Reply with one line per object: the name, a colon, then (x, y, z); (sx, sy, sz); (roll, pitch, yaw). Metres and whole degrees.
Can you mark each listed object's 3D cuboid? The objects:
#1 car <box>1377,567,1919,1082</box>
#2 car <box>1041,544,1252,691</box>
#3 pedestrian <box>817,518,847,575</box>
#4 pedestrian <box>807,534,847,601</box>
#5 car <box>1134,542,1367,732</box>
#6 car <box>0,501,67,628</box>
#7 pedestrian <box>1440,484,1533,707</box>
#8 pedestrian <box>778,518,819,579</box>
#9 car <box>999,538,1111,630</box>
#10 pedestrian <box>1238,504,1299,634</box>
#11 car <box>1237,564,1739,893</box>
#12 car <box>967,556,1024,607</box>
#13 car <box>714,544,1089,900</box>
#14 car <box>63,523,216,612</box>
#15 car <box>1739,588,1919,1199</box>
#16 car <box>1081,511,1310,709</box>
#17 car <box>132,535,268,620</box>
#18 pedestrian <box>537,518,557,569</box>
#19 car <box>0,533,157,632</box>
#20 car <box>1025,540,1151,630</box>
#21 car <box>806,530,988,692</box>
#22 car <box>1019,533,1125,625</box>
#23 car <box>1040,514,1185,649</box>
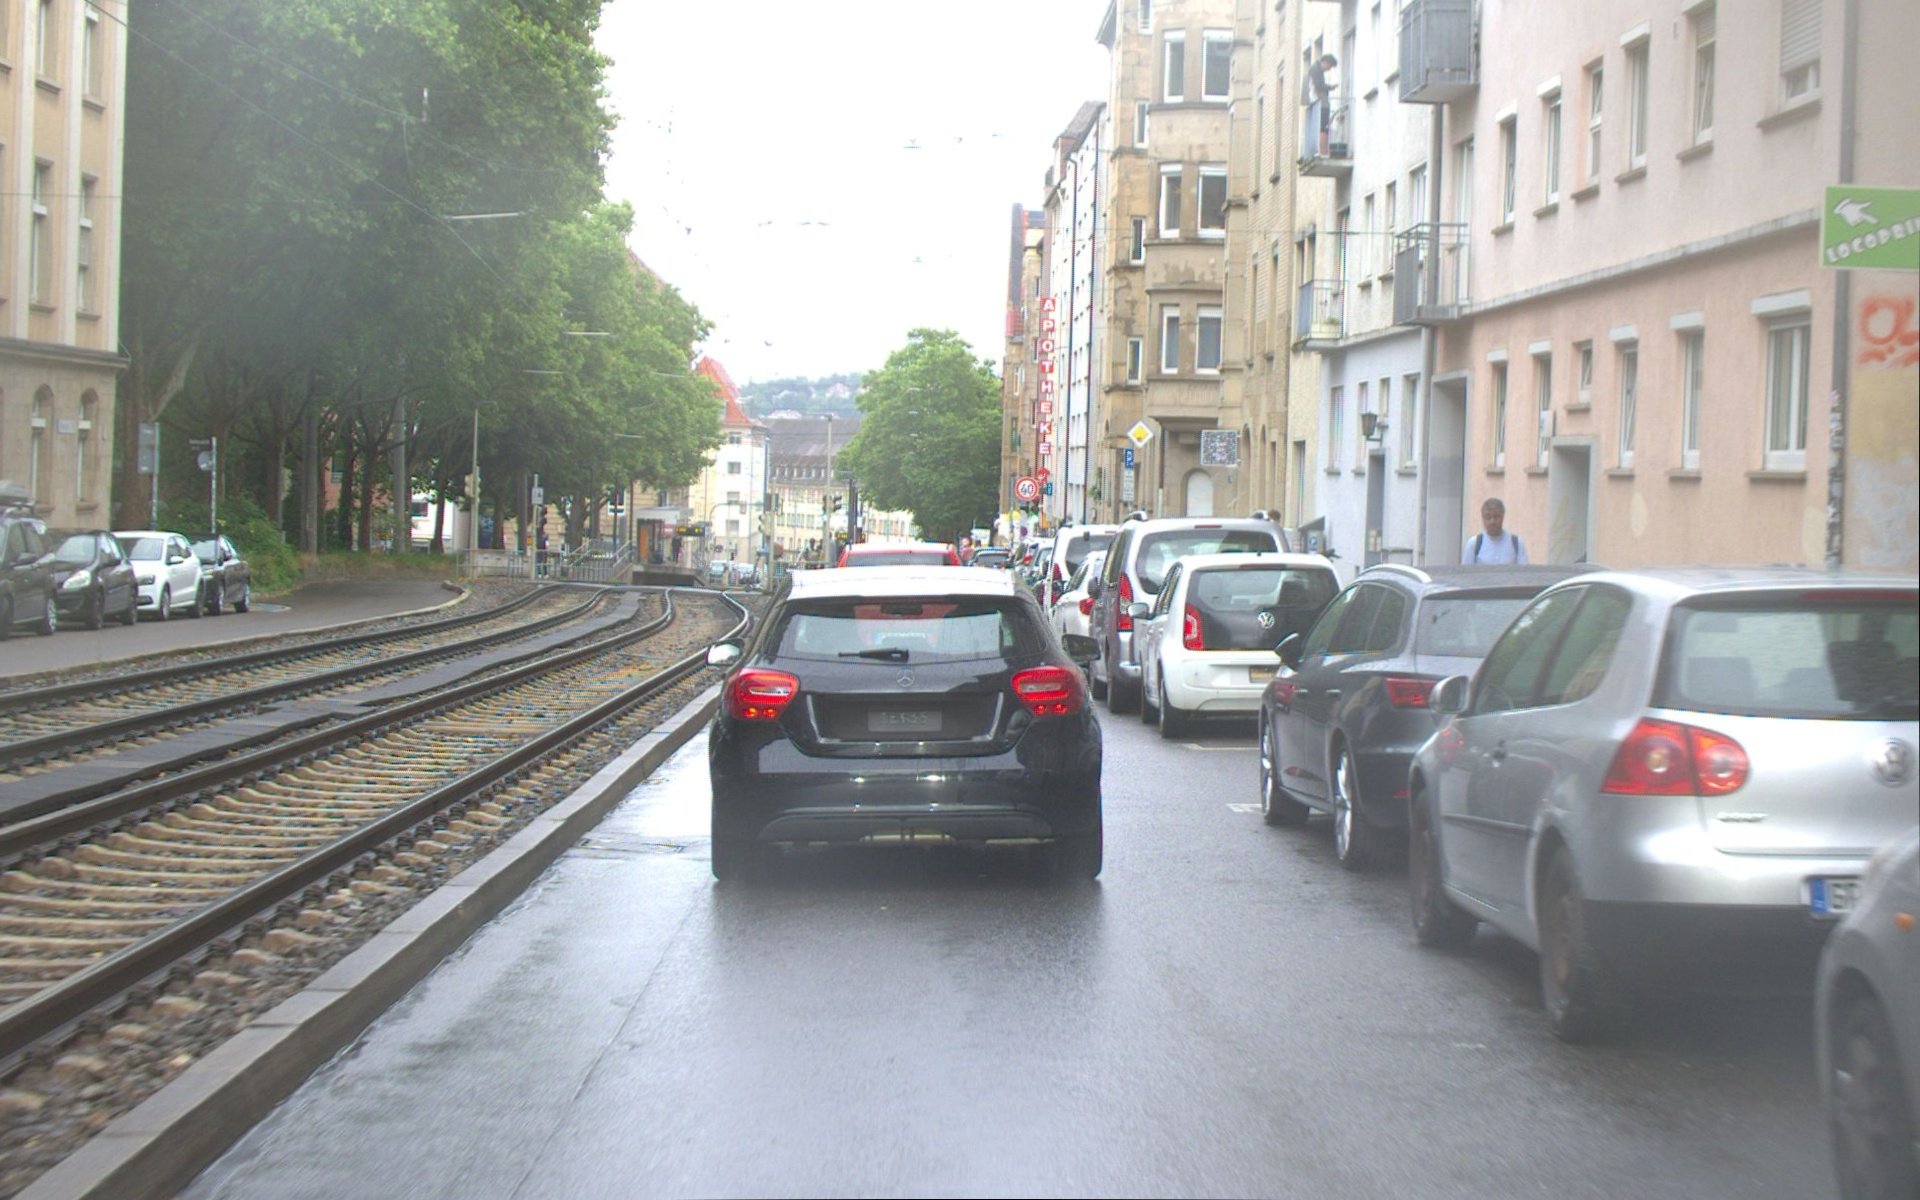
car: (2.556, 0.615, 11.691); (1.667, 1.429, 3.956); (0, 1, -2)
car: (1.971, 0.141, 37.742); (1.871, 1.450, 4.903); (1, 1, -2)
pedestrian: (-3.683, -1.539, 98.843); (0.806, 1.628, 0.892); (0, 1, 0)
pedestrian: (-3.992, -0.978, 102.925); (1.137, 1.991, 1.173); (-1, 1, -4)
car: (2.331, 0.258, 28.302); (1.570, 1.457, 3.600); (0, 1, 0)
car: (-13.205, -0.473, 45.929); (1.576, 1.637, 4.072); (-1, 1, -2)
pedestrian: (4.227, -0.040, 27.648); (0.607, 1.757, 0.688); (-1, 1, -1)
pedestrian: (-4.622, -1.472, 98.450); (1.054, 1.713, 0.904); (2, 1, 1)
car: (1.805, -0.337, 66.314); (1.766, 1.662, 4.333); (2, 1, -3)
pedestrian: (4.422, -0.445, 49.327); (0.746, 1.827, 1.039); (-1, 1, 1)
car: (2.486, 0.540, 17.208); (1.669, 1.405, 4.312); (0, 1, -2)
car: (1.167, -0.625, 114.910); (1.827, 1.612, 3.864); (-1, 1, -1)
car: (-0.288, 0.496, 16.501); (1.580, 1.499, 3.575); (1, 1, -1)
car: (-13.342, -0.544, 56.111); (1.500, 1.386, 3.987); (-1, 1, 0)
car: (2.757, 0.716, 6.434); (1.590, 1.429, 3.684); (0, 1, -3)
car: (2.166, 0.053, 32.682); (1.790, 1.759, 4.212); (0, 1, -1)
car: (-13.407, -0.427, 60.820); (1.614, 1.424, 3.852); (0, 1, -1)
pedestrian: (-14.476, -1.984, 120.411); (0.534, 1.748, 0.607); (3, 1, 0)
car: (-13.391, -0.289, 51.619); (1.675, 1.409, 4.010); (-1, 1, 0)
car: (2.018, -0.268, 55.420); (1.717, 1.342, 4.462); (2, 1, -1)
car: (-0.648, 0.079, 36.194); (1.785, 1.575, 4.000); (1, 1, -1)
car: (1.940, -0.380, 60.482); (1.693, 1.524, 4.000); (1, 1, 0)
car: (2.054, -0.288, 47.420); (1.828, 1.744, 4.467); (1, 1, 1)
